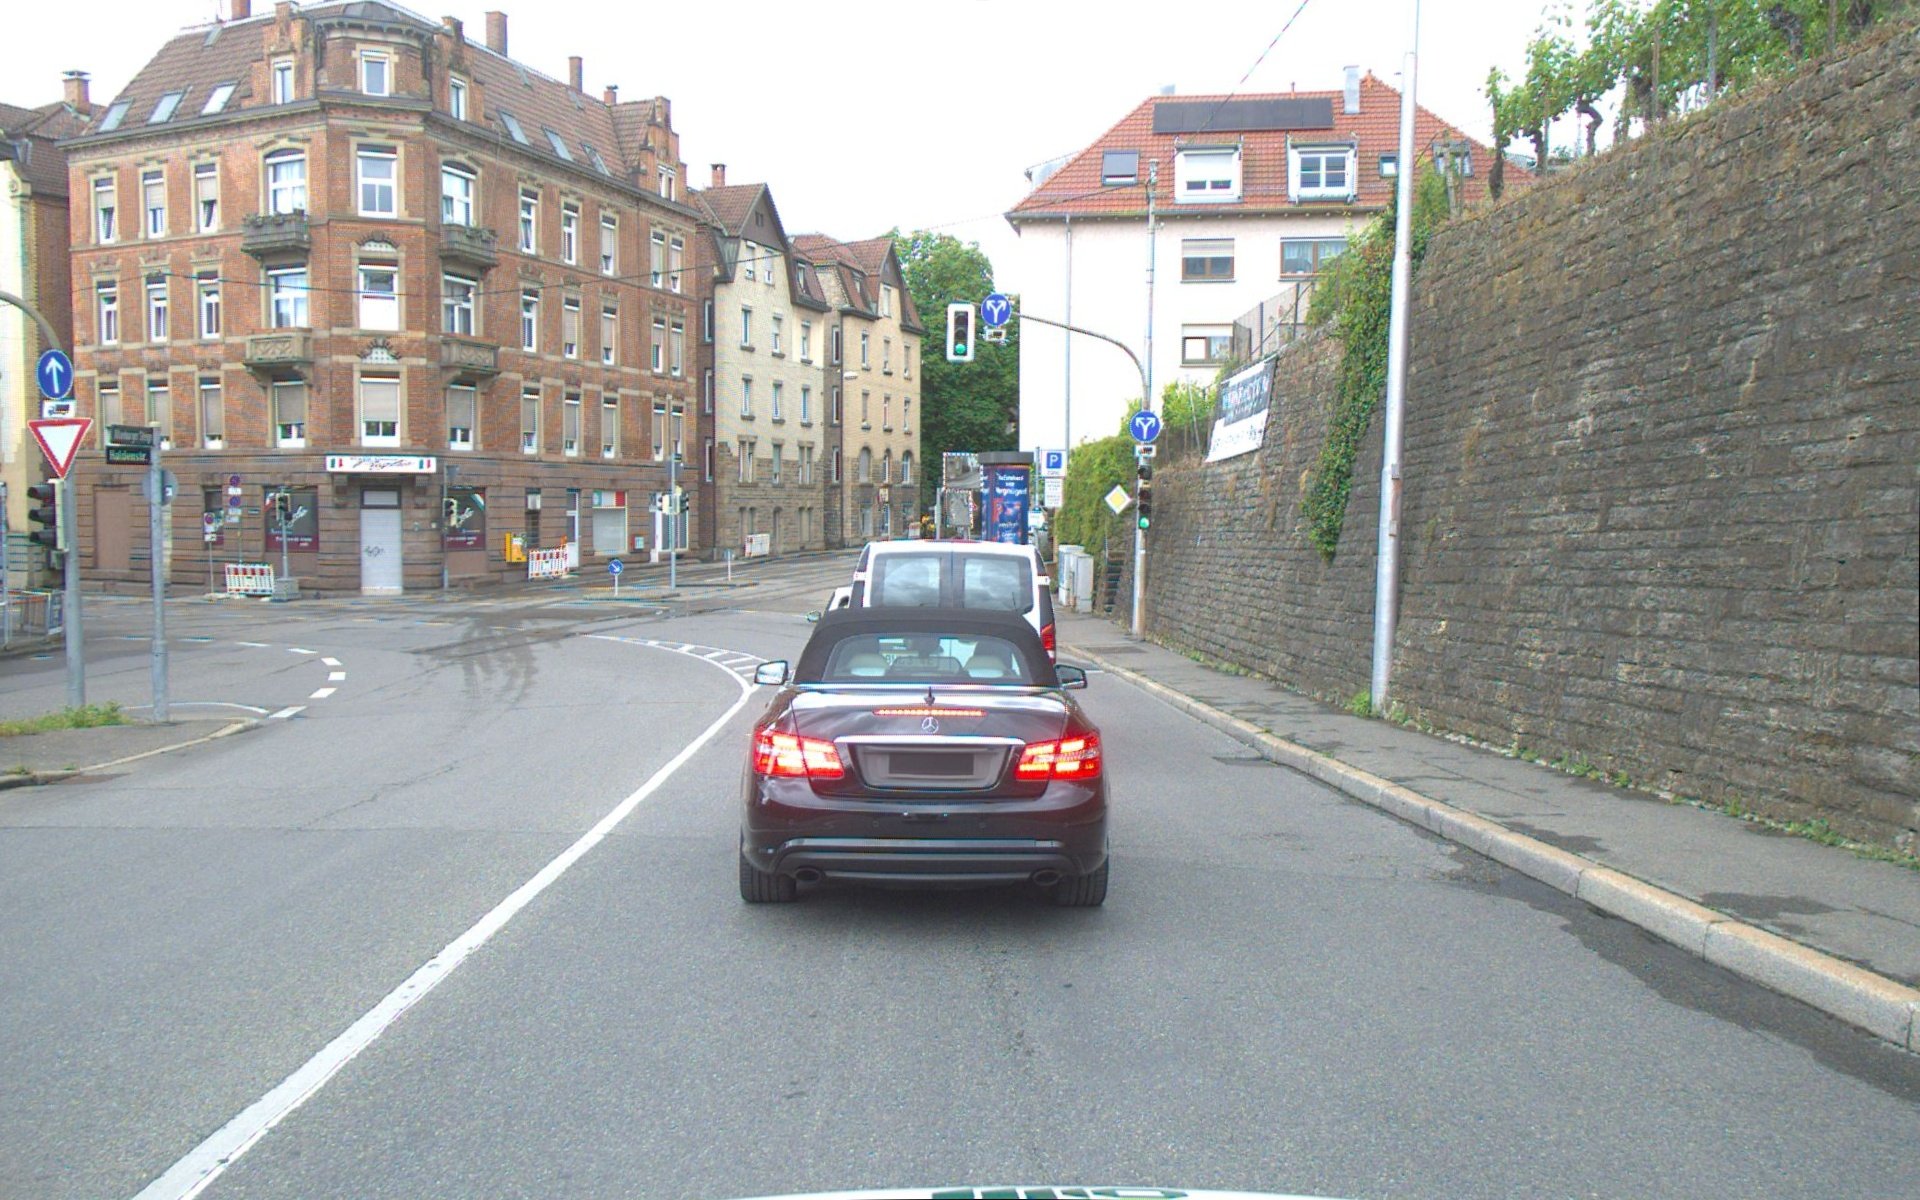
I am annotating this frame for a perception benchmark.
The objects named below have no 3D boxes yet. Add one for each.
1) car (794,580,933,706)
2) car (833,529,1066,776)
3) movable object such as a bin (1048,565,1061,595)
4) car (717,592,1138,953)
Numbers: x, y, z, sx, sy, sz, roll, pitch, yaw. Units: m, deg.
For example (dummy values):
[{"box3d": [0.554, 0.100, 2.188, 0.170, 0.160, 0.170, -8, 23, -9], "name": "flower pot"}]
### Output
[{"box3d": [-1.197, 0.492, 21.948, 1.647, 1.491, 3.918, 1, 1, -1], "name": "car"}, {"box3d": [-0.116, 0.387, 15.622, 1.853, 1.962, 4.645, 1, 1, -1], "name": "car"}, {"box3d": [2.933, -0.623, 51.434, 0.337, 0.927, 0.494, 0, 1, -7], "name": "movable object such as a bin"}, {"box3d": [-0.166, 0.706, 9.039, 1.726, 1.434, 4.398, 1, 1, -1], "name": "car"}]
